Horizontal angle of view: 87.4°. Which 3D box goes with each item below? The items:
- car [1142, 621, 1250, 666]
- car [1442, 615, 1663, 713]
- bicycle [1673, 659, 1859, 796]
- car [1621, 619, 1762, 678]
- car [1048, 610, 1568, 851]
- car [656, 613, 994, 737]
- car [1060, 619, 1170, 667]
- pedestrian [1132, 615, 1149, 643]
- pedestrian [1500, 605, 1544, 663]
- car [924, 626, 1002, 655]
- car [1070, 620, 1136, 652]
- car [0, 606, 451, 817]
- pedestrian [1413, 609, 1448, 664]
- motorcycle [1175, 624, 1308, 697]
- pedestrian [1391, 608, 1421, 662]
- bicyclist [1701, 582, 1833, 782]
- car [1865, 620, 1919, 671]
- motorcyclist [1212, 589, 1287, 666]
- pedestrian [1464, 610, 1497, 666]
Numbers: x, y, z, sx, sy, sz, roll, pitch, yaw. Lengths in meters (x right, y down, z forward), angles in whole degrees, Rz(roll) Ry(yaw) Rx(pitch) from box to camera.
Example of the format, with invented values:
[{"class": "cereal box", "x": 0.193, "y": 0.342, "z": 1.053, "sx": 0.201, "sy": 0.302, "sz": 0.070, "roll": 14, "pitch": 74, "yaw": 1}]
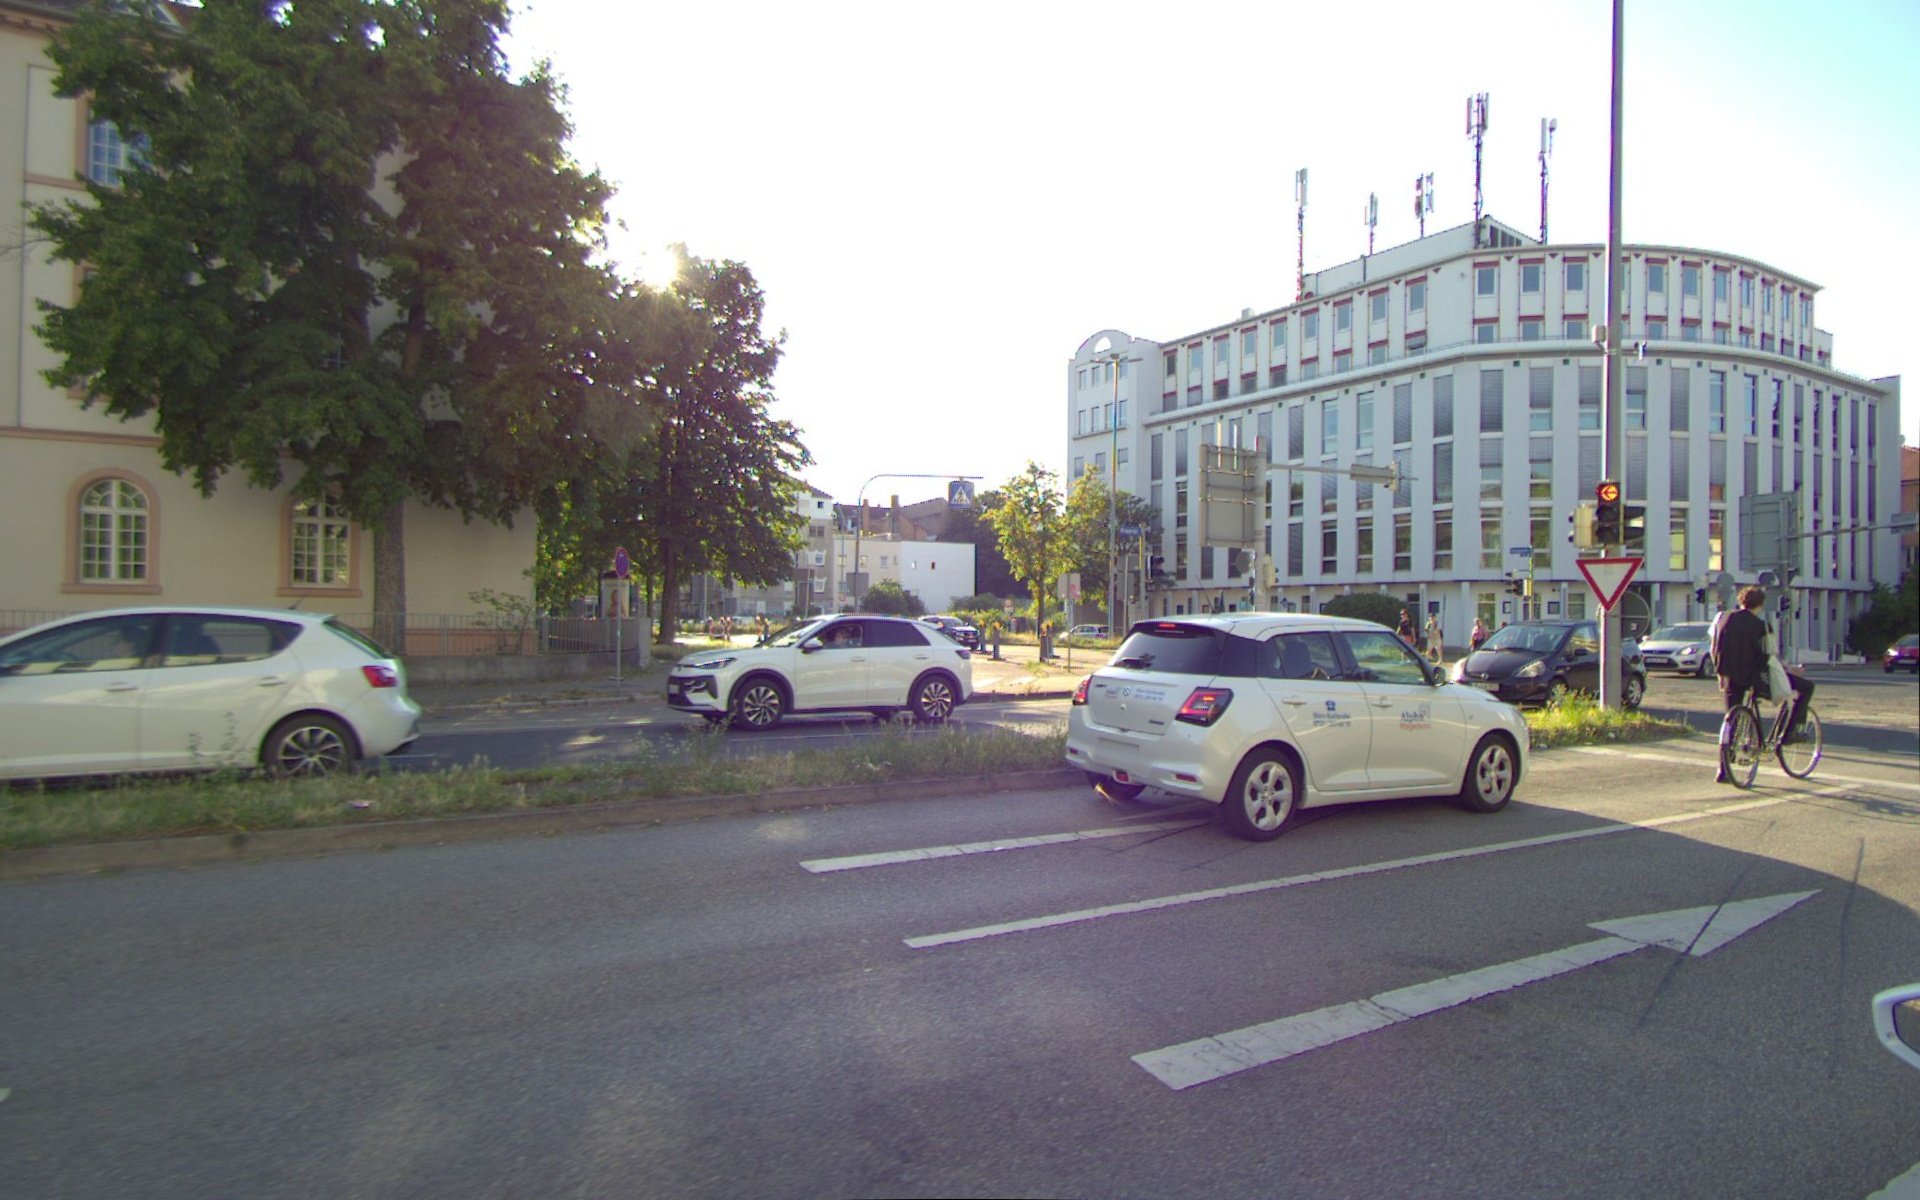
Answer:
[{"class": "car", "x": 8.845, "y": 1.651, "z": 37.886, "sx": 1.843, "sy": 1.550, "sz": 3.788, "roll": 4, "pitch": -4, "yaw": -32}, {"class": "car", "x": 10.295, "y": 1.047, "z": 17.391, "sx": 3.955, "sy": 1.514, "sz": 1.649, "roll": 1, "pitch": -1, "yaw": -32}, {"class": "bicycle", "x": 7.574, "y": 1.128, "z": 9.403, "sx": 2.233, "sy": 1.114, "sz": 0.696, "roll": 1, "pitch": -1, "yaw": -33}, {"class": "car", "x": 20.282, "y": 1.311, "z": 27.810, "sx": 4.297, "sy": 1.514, "sz": 1.649, "roll": 1, "pitch": -1, "yaw": -31}, {"class": "car", "x": 2.797, "y": 0.844, "z": 7.898, "sx": 3.951, "sy": 1.476, "sz": 1.677, "roll": 1, "pitch": -1, "yaw": -29}, {"class": "car", "x": -1.826, "y": 0.970, "z": 14.177, "sx": 4.463, "sy": 1.518, "sz": 1.676, "roll": 1, "pitch": -1, "yaw": -32}, {"class": "car", "x": 5.647, "y": 1.549, "z": 37.113, "sx": 1.973, "sy": 1.650, "sz": 4.333, "roll": 1, "pitch": -2, "yaw": -25}, {"class": "pedestrian", "x": 11.766, "y": 1.902, "z": 65.562, "sx": 0.901, "sy": 1.816, "sz": 0.671, "roll": -1, "pitch": -1, "yaw": 43}, {"class": "pedestrian", "x": 18.567, "y": 1.132, "z": 33.186, "sx": 1.105, "sy": 1.893, "sz": 0.628, "roll": 1, "pitch": -1, "yaw": -2}, {"class": "car", "x": 0.109, "y": 2.021, "z": 50.436, "sx": 1.813, "sy": 1.372, "sz": 3.955, "roll": 1, "pitch": -2, "yaw": -39}, {"class": "car", "x": 9.057, "y": 2.305, "z": 63.567, "sx": 3.796, "sy": 1.756, "sz": 1.776, "roll": 0, "pitch": -9, "yaw": 19}, {"class": "car", "x": -6.293, "y": 0.766, "z": 7.755, "sx": 4.132, "sy": 1.411, "sz": 1.677, "roll": 1, "pitch": -1, "yaw": -31}, {"class": "pedestrian", "x": 16.225, "y": 1.266, "z": 34.639, "sx": 0.805, "sy": 1.866, "sz": 0.758, "roll": 1, "pitch": -1, "yaw": -15}, {"class": "motorcycle", "x": 5.415, "y": 1.128, "z": 19.193, "sx": 2.811, "sy": 1.301, "sz": 0.766, "roll": 1, "pitch": -1, "yaw": -32}, {"class": "pedestrian", "x": 15.759, "y": 1.218, "z": 35.492, "sx": 0.763, "sy": 1.883, "sz": 0.662, "roll": 0, "pitch": -1, "yaw": 4}, {"class": "bicyclist", "x": 7.544, "y": 0.735, "z": 9.393, "sx": 0.977, "sy": 1.750, "sz": 0.687, "roll": 1, "pitch": -1, "yaw": -33}, {"class": "car", "x": 35.422, "y": 1.669, "z": 37.277, "sx": 4.006, "sy": 1.835, "sz": 1.738, "roll": 1, "pitch": -1, "yaw": -33}, {"class": "motorcyclist", "x": 5.555, "y": 0.529, "z": 19.267, "sx": 1.225, "sy": 1.438, "sz": 0.766, "roll": 1, "pitch": -1, "yaw": -32}, {"class": "pedestrian", "x": 17.619, "y": 1.283, "z": 34.014, "sx": 0.763, "sy": 1.893, "sz": 0.662, "roll": 1, "pitch": -1, "yaw": -2}]
